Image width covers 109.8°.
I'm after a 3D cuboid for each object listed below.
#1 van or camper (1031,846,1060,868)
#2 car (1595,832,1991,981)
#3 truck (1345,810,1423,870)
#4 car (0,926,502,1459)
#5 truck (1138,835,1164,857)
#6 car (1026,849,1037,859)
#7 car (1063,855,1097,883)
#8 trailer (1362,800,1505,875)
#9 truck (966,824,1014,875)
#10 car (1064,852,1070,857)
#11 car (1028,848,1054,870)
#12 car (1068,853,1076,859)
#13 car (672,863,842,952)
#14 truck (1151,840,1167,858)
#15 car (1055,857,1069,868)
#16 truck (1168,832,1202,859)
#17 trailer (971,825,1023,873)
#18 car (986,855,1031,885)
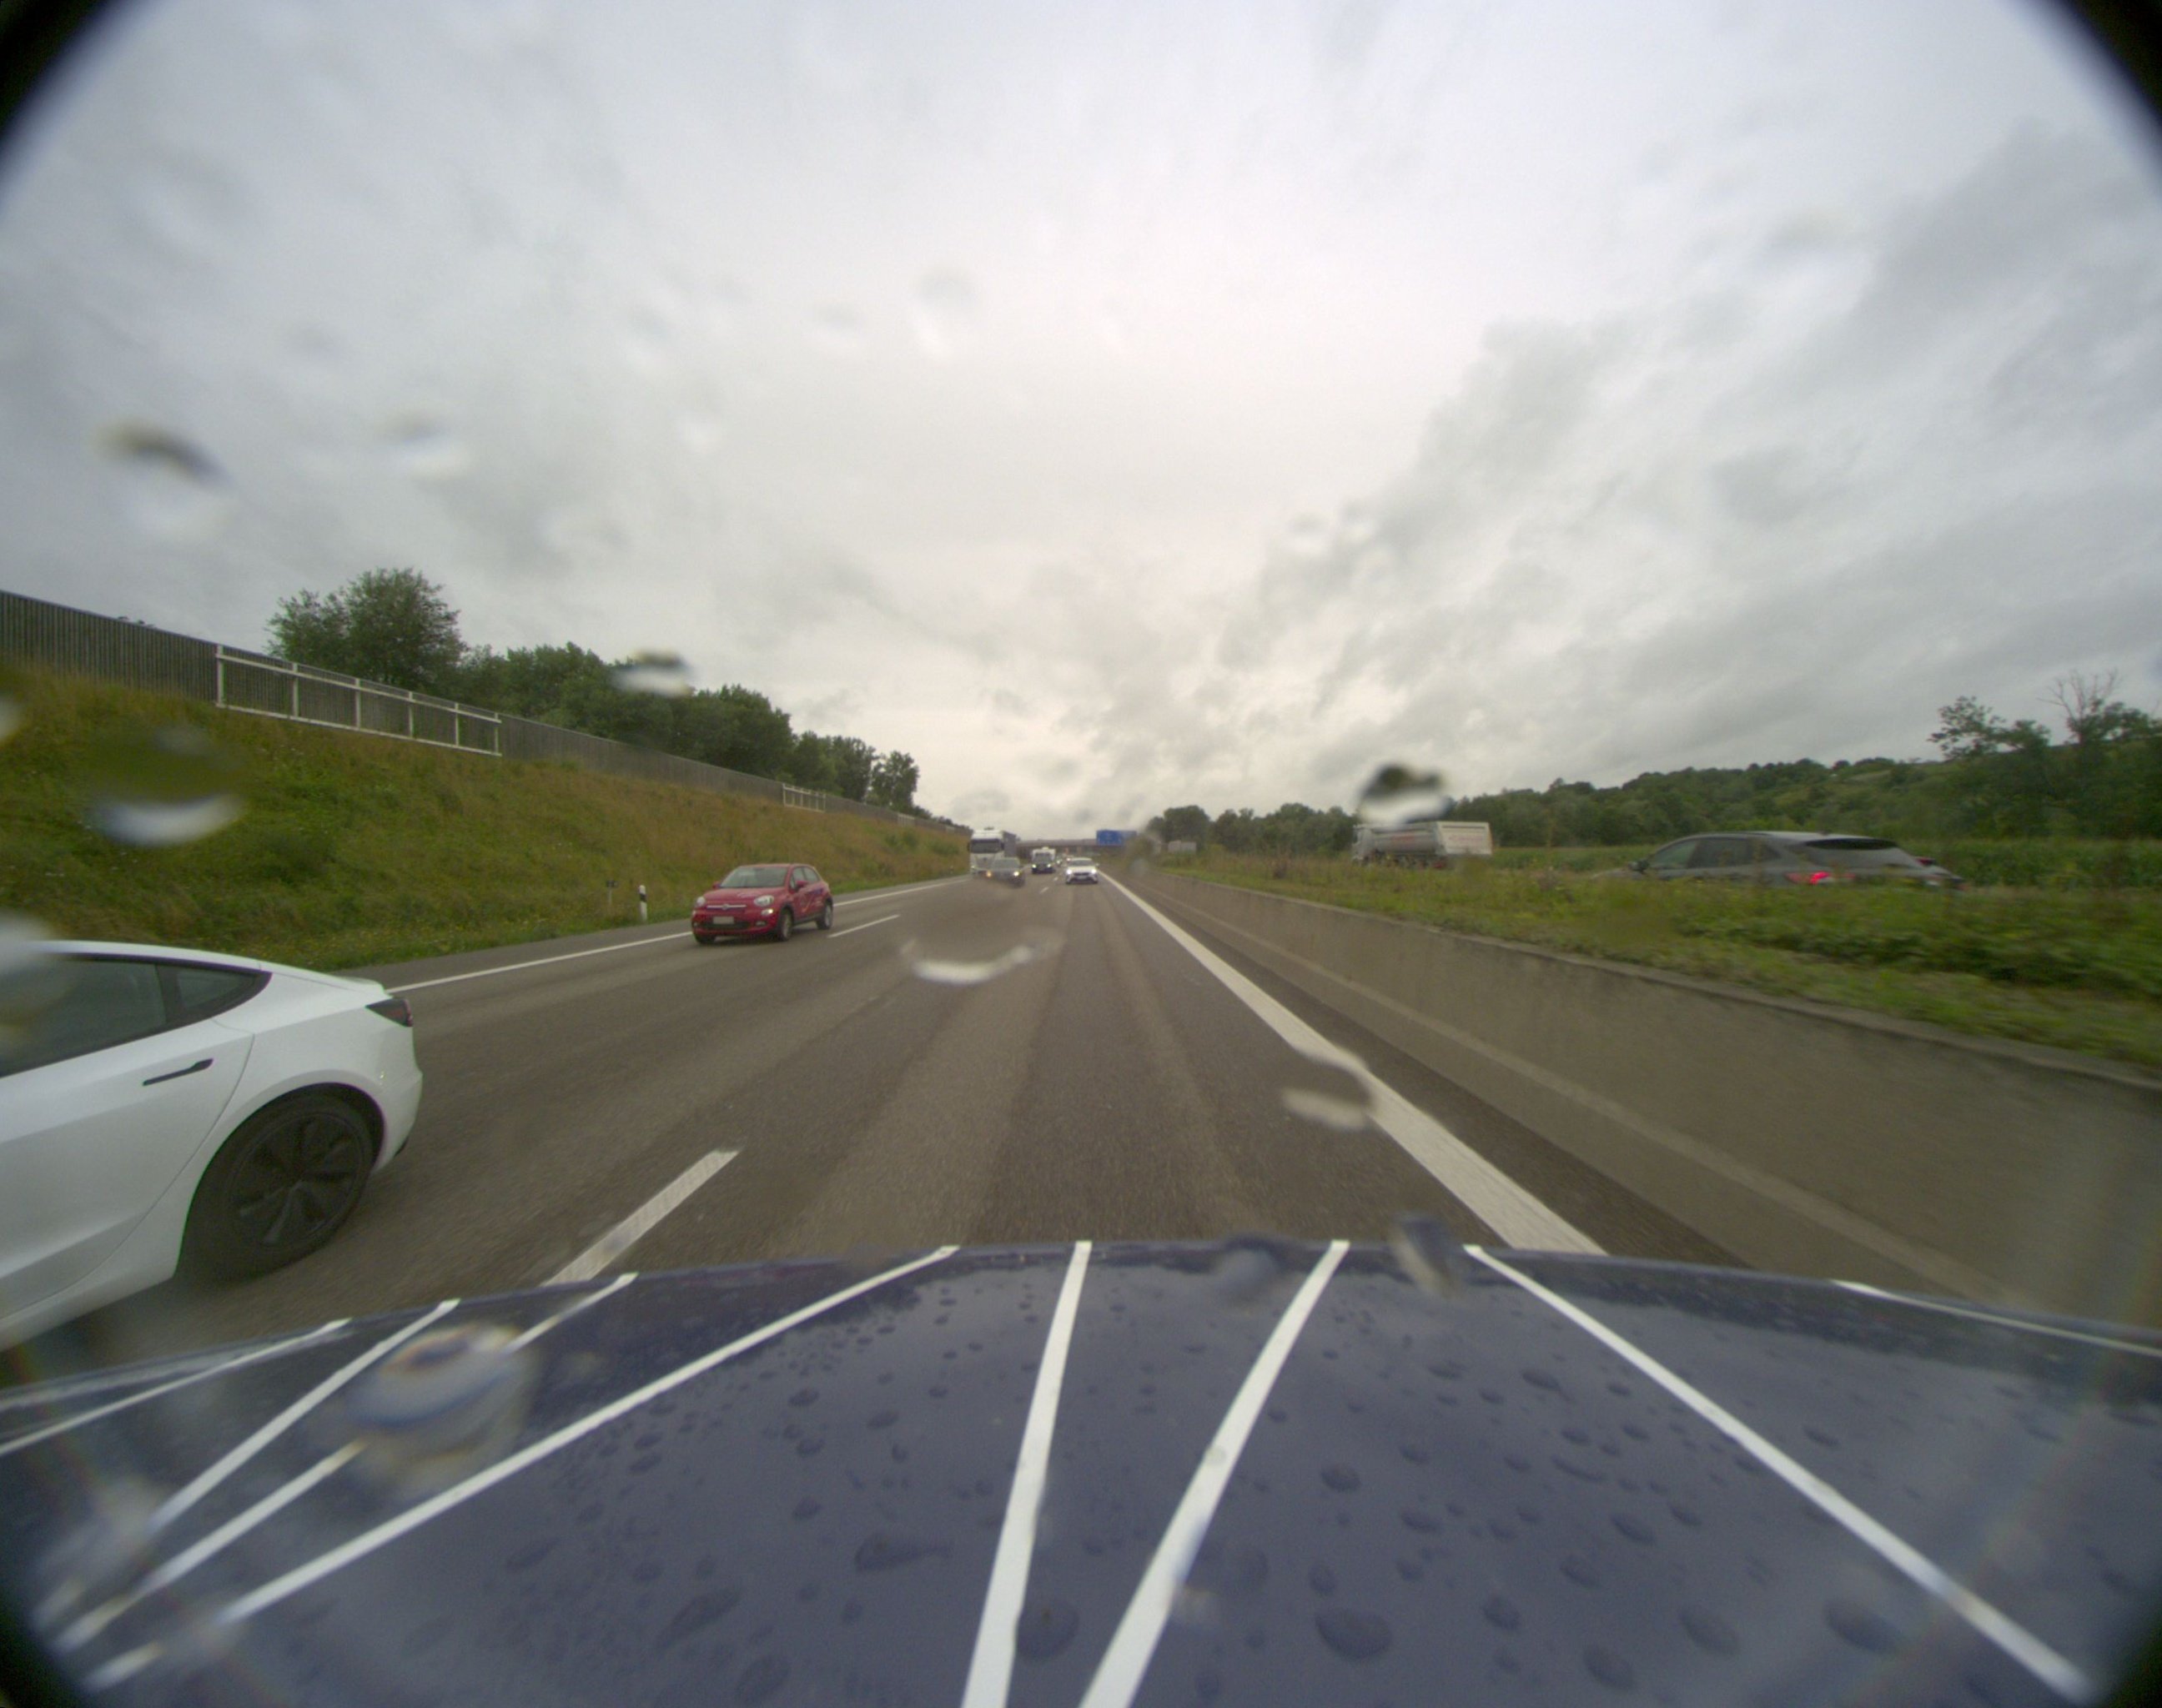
[{"bbox_3d":[-3.653,0.276,79.499,2.432,2.139,6.498,-2,1,2],"label":"van or camper"},{"bbox_3d":[9.588,0.606,10.788,1.887,1.674,4.000,-2,0,1],"label":"car"},{"bbox_3d":[17.916,-0.799,45.186,2.763,3.324,4.520,-2,1,0],"label":"truck"},{"bbox_3d":[-4.100,1.119,1.703,1.878,1.355,4.812,-2,1,0],"label":"car"},{"bbox_3d":[13.627,-1.582,149.885,3.609,3.858,16.108,-2,1,0],"label":"truck"},{"bbox_3d":[-10.151,0.030,155.257,1.998,2.002,4.262,-1,0,0],"label":"car"},{"bbox_3d":[-0.027,0.841,43.952,1.840,1.455,4.000,-2,1,1],"label":"car"},{"bbox_3d":[17.881,-0.813,39.536,2.794,3.309,9.925,-2,1,0],"label":"trailer"},{"bbox_3d":[-7.611,-0.380,64.420,3.089,4.003,6.955,-2,1,0],"label":"truck"},{"bbox_3d":[-4.893,0.149,260.625,1.999,1.850,3.999,-1,0,-1],"label":"car"},{"bbox_3d":[-3.893,0.446,74.389,1.998,2.002,4.938,-2,1,2],"label":"car"},{"bbox_3d":[-2.495,0.543,209.388,1.999,1.696,4.484,-2,0,-2],"label":"car"},{"bbox_3d":[-6.758,1.035,16.363,1.878,1.526,3.999,-2,1,0],"label":"car"},{"bbox_3d":[17.889,-1.078,174.474,2.455,3.951,8.768,-1,0,-2],"label":"truck"},{"bbox_3d":[-2.987,1.350,119.940,1.998,1.759,4.000,0,0,1],"label":"car"},{"bbox_3d":[17.855,-1.506,131.595,3.333,4.317,16.898,-2,1,0],"label":"truck"},{"bbox_3d":[-7.637,-0.482,71.790,3.089,4.003,15.220,-2,1,0],"label":"trailer"},{"bbox_3d":[-3.961,0.829,42.313,1.929,1.480,4.485,-2,1,1],"label":"car"}]
